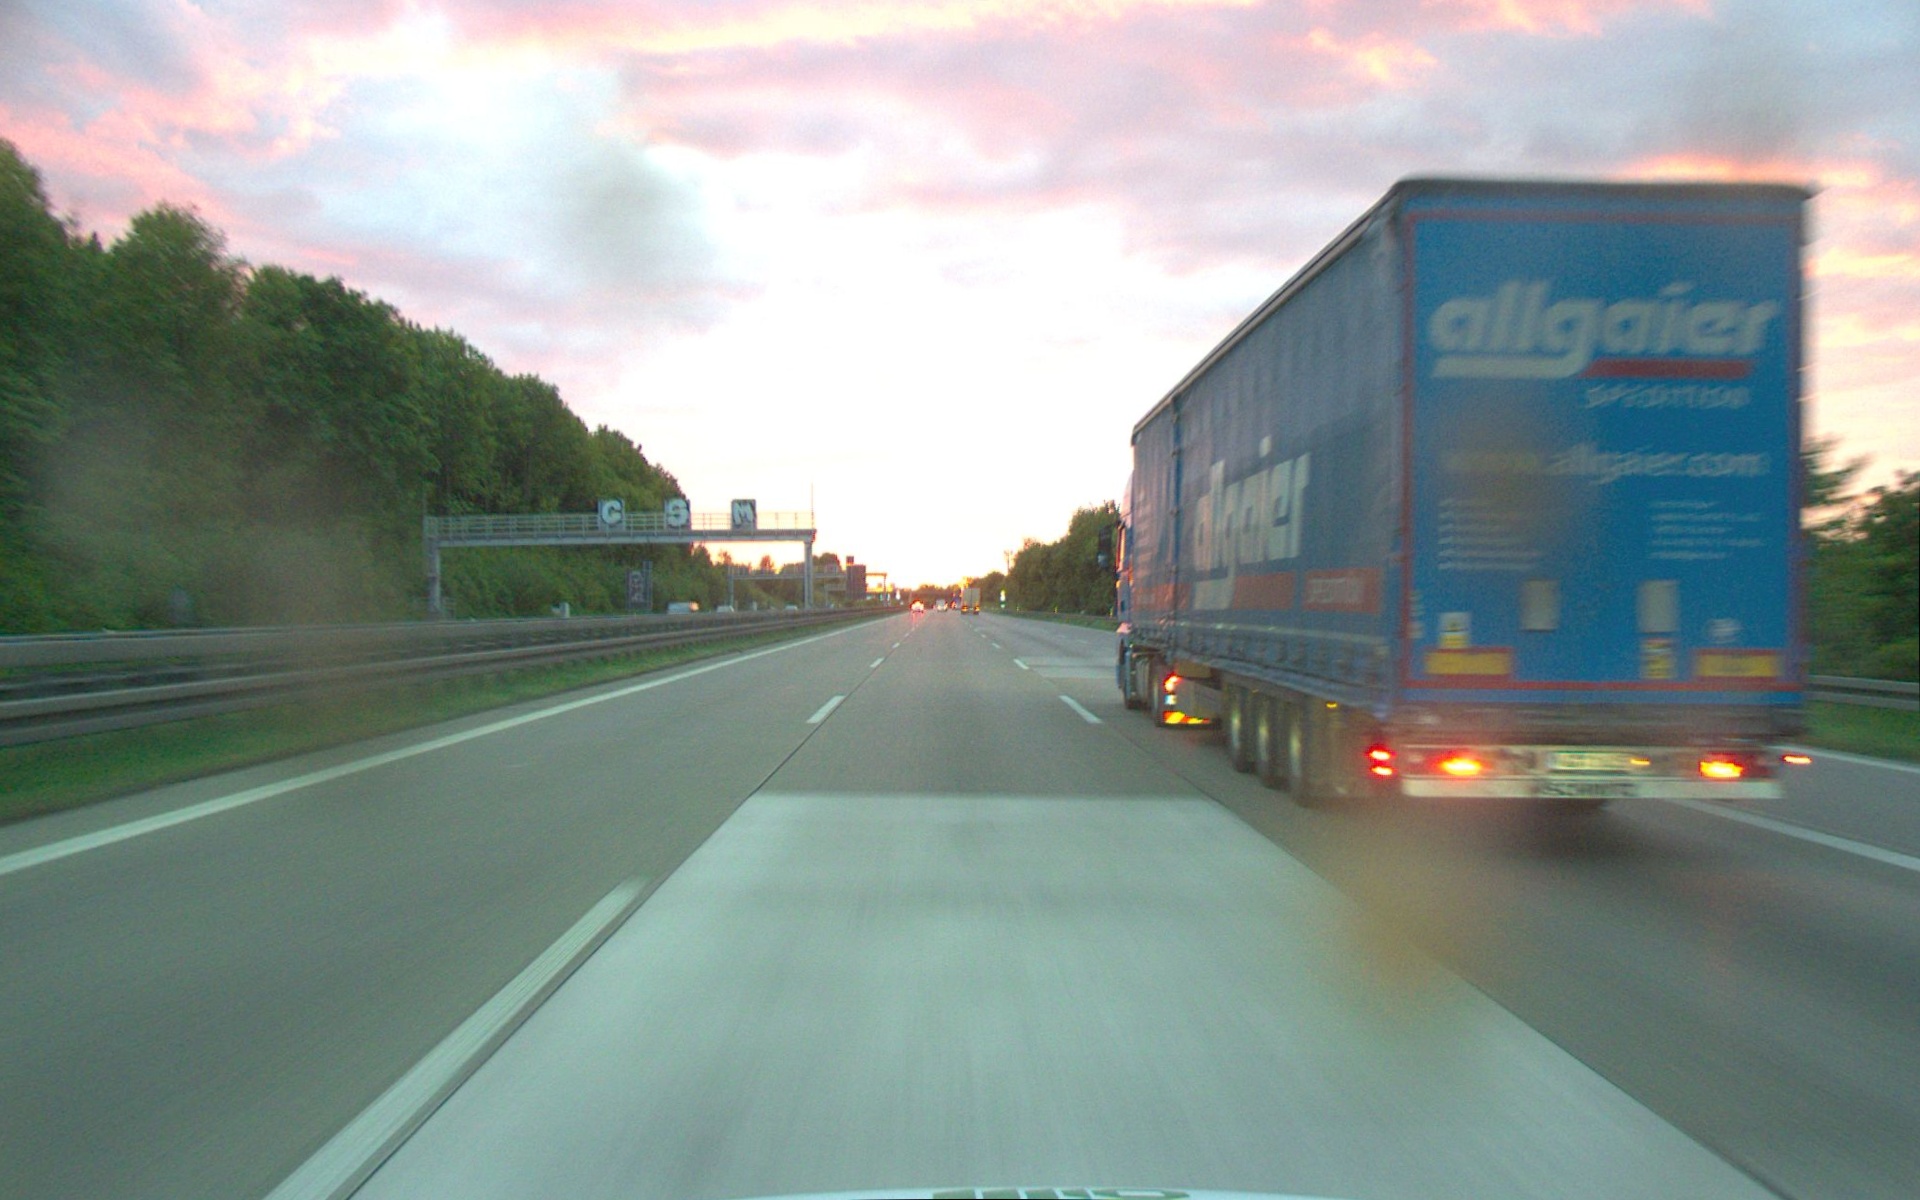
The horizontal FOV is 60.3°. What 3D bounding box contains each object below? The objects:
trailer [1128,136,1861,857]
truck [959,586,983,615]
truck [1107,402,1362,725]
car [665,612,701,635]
[{"bbox_3d":[3.812,-0.566,16.479,2.715,4.158,13.736,1,0,-1],"label":"trailer"},{"bbox_3d":[1.547,0.151,244.703,3.179,4.199,9.782,-1,0,-2],"label":"truck"},{"bbox_3d":[3.733,-0.446,23.857,2.680,4.066,5.849,1,0,0],"label":"truck"},{"bbox_3d":[-21.268,1.795,127.165,1.810,1.764,5.660,0,0,0],"label":"car"}]
